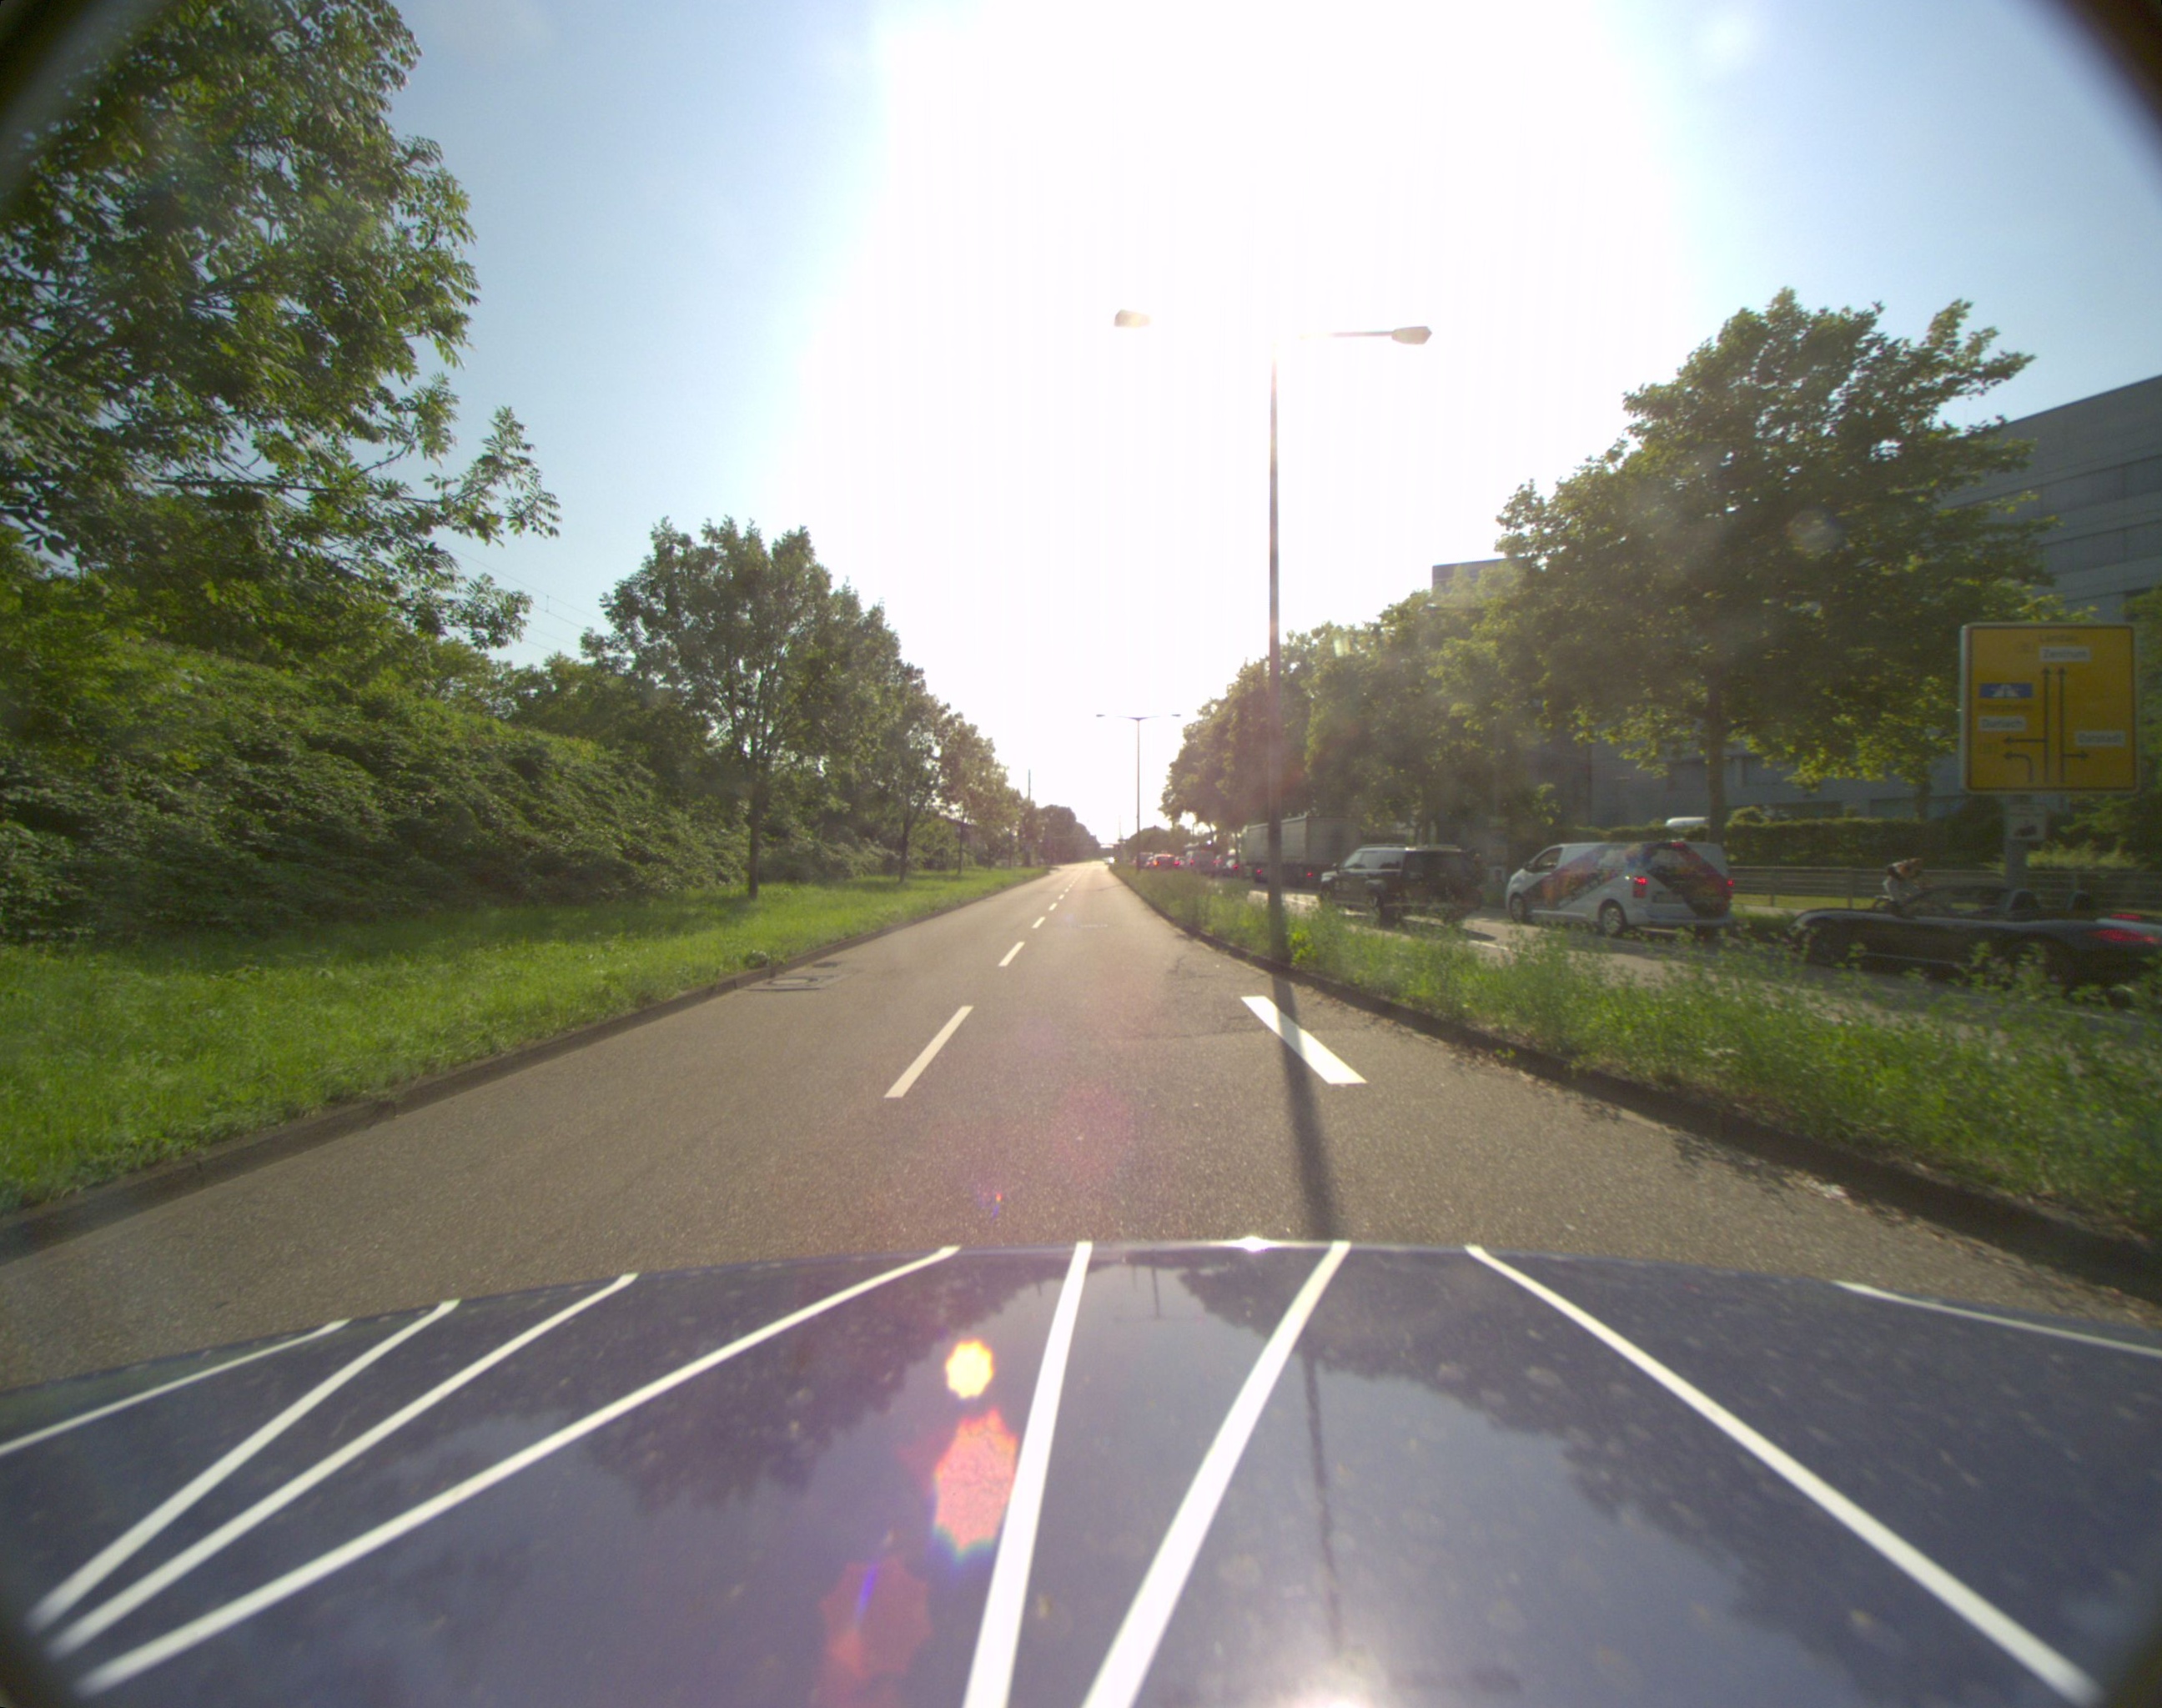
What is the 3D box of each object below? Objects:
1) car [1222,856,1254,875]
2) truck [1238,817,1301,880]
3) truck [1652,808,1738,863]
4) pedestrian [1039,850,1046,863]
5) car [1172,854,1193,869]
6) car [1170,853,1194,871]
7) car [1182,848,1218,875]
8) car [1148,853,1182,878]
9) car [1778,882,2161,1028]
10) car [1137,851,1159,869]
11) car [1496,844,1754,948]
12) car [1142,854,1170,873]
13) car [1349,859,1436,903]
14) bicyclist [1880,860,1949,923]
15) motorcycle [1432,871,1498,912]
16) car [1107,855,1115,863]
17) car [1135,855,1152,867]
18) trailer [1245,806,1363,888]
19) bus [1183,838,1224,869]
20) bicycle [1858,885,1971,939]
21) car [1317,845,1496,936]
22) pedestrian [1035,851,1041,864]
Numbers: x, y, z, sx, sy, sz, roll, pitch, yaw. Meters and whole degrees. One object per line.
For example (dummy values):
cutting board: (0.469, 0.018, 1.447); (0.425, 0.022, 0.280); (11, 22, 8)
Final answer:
car: (12.409, 0.881, 60.321); (1.651, 1.402, 4.480); (1, 0, 1)
truck: (12.089, -0.361, 49.128); (2.614, 3.797, 5.891); (1, 0, 1)
truck: (33.801, -0.966, 41.769); (5.916, 2.844, 2.233); (-1, 0, -37)
pedestrian: (-4.912, 0.338, 96.945); (0.570, 1.672, 0.493); (0, 1, 33)
car: (10.320, 0.761, 77.606); (1.651, 1.424, 4.190); (1, 0, 2)
car: (9.258, 0.730, 69.936); (1.699, 1.520, 4.140); (1, 0, 1)
car: (8.947, 0.569, 57.437); (1.998, 1.942, 5.036); (0, 0, 1)
car: (5.833, 0.781, 53.384); (1.959, 1.714, 4.587); (0, 0, 1)
car: (11.335, 1.071, 9.386); (1.795, 1.255, 4.096); (1, 0, 3)
car: (7.054, 0.600, 80.444); (1.916, 1.853, 4.890); (0, 0, 1)
car: (11.236, 0.757, 16.280); (1.989, 1.848, 4.969); (1, 0, 1)
car: (6.034, 0.723, 61.434); (1.751, 1.470, 4.586); (1, 0, -1)
car: (11.406, 0.944, 28.096); (1.750, 1.470, 3.831); (1, 0, 2)
bicyclist: (19.340, 0.859, 17.645); (0.649, 1.431, 0.840); (0, 0, 0)
motorcycle: (11.595, 1.106, 23.041); (0.796, 1.100, 2.467); (-1, 0, 2)
car: (6.316, 1.037, 158.861); (1.544, 1.433, 3.397); (0, -1, 5)
car: (7.214, 0.811, 88.496); (1.713, 1.394, 4.084); (1, -1, 1)
trailer: (11.931, -0.355, 42.474); (2.640, 3.799, 13.812); (1, 0, 1)
bus: (12.843, -0.070, 80.721); (2.596, 3.061, 12.312); (-1, 0, 2)
bicycle: (19.327, 1.318, 17.675); (0.649, 1.101, 1.800); (0, 0, 0)
car: (7.132, 0.713, 17.263); (1.999, 1.749, 4.476); (2, 0, -2)
pedestrian: (-5.503, 0.450, 97.548); (0.573, 1.558, 0.535); (-2, 1, -40)
